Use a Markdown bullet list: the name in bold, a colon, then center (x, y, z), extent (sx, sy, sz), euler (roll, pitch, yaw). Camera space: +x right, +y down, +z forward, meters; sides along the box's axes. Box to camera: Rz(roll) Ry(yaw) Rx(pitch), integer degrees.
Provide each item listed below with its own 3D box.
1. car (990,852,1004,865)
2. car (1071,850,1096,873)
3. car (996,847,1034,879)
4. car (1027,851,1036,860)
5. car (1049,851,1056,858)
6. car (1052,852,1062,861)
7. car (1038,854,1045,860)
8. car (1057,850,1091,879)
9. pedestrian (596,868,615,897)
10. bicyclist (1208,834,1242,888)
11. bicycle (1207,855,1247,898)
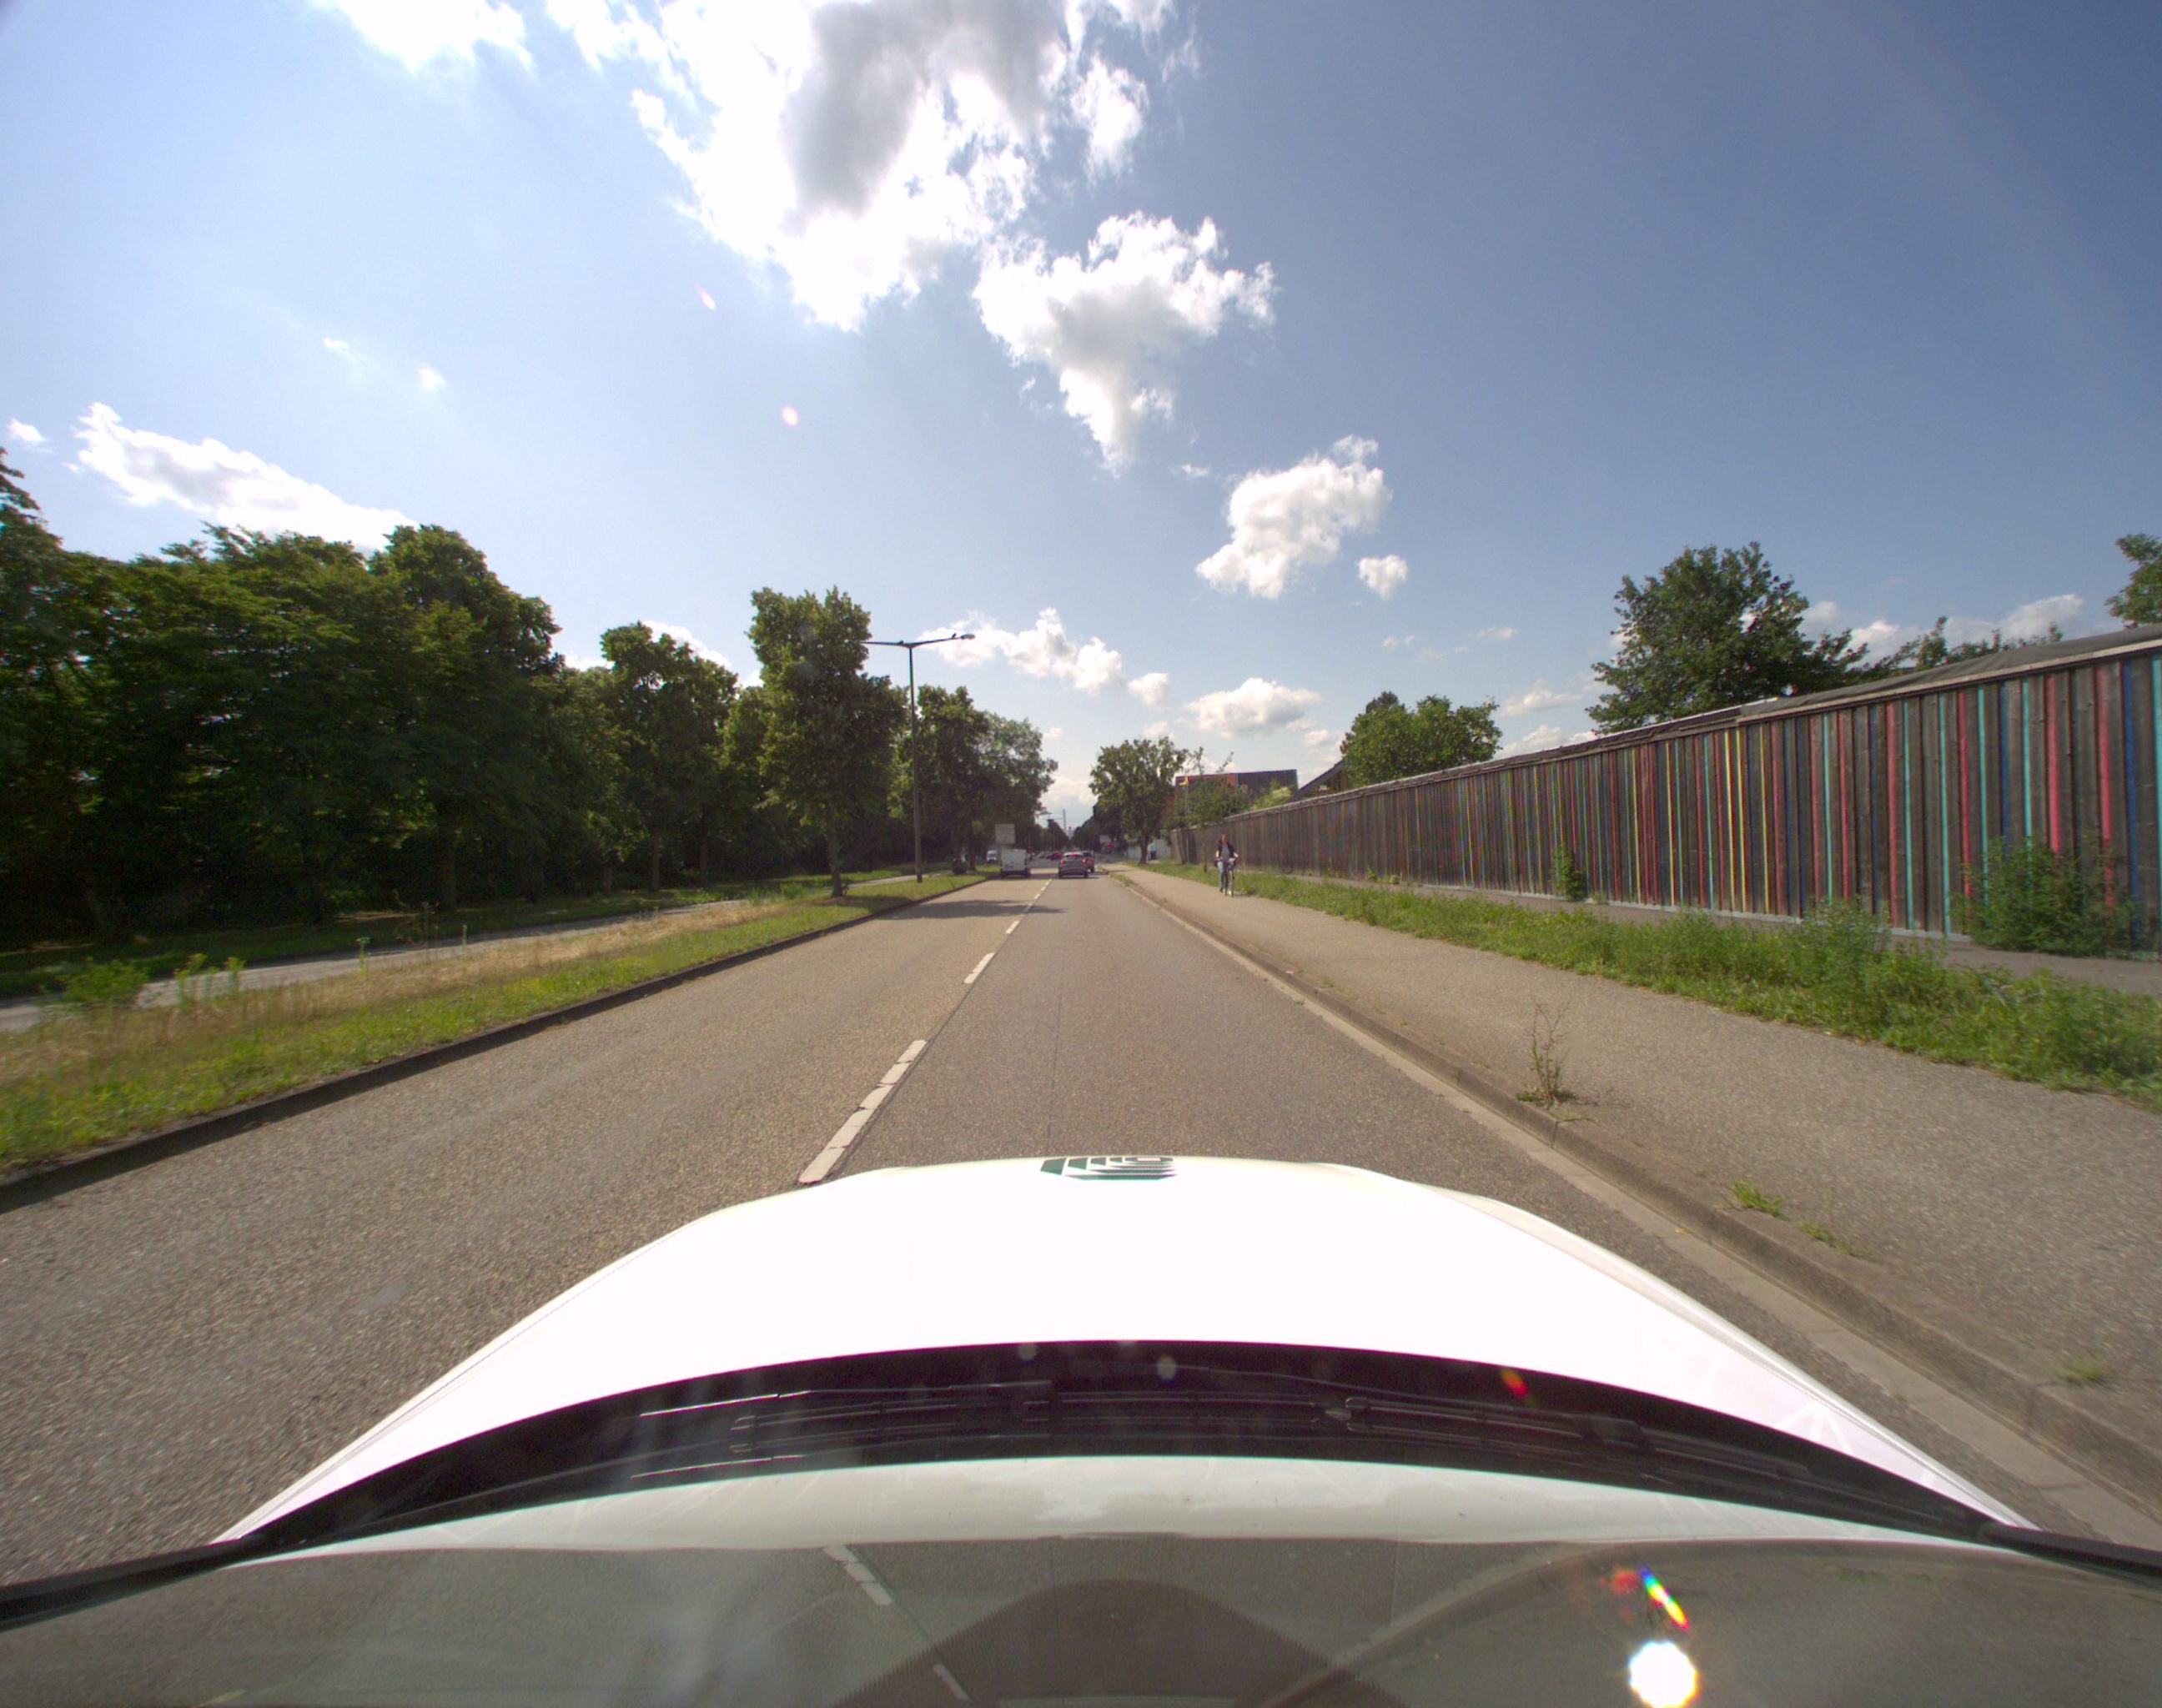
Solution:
- **car**: center (-16.603, 0.867, 160.793), extent (2.039, 2.431, 5.249), euler (-2, 0, 0)
- **car**: center (0.196, 0.559, 63.501), extent (1.774, 1.643, 4.195), euler (-2, 0, 0)
- **car**: center (-4.217, 0.546, 53.005), extent (2.059, 1.912, 4.645), euler (-2, 0, -1)
- **car**: center (-10.961, 0.295, 179.811), extent (1.774, 1.767, 4.124), euler (-2, 0, 0)
- **car**: center (-7.486, 0.017, 215.723), extent (1.774, 1.767, 4.150), euler (-2, 0, 0)
- **car**: center (-4.779, 0.542, 162.487), extent (1.935, 1.767, 4.145), euler (-2, 0, 0)
- **car**: center (-10.919, 0.793, 225.457), extent (1.886, 1.588, 4.108), euler (-2, 0, 0)
- **car**: center (-0.407, 0.609, 49.367), extent (1.869, 1.589, 4.183), euler (-2, 0, 0)
- **pedestrian**: center (-27.606, 1.659, 47.279), extent (0.642, 1.630, 0.656), euler (-1, 0, 0)
- **bicyclist**: center (3.982, 0.182, 22.590), extent (0.652, 1.412, 0.986), euler (-5, 0, 0)
- **bicycle**: center (4.019, 0.583, 22.584), extent (0.644, 1.067, 2.278), euler (-5, 0, 0)
